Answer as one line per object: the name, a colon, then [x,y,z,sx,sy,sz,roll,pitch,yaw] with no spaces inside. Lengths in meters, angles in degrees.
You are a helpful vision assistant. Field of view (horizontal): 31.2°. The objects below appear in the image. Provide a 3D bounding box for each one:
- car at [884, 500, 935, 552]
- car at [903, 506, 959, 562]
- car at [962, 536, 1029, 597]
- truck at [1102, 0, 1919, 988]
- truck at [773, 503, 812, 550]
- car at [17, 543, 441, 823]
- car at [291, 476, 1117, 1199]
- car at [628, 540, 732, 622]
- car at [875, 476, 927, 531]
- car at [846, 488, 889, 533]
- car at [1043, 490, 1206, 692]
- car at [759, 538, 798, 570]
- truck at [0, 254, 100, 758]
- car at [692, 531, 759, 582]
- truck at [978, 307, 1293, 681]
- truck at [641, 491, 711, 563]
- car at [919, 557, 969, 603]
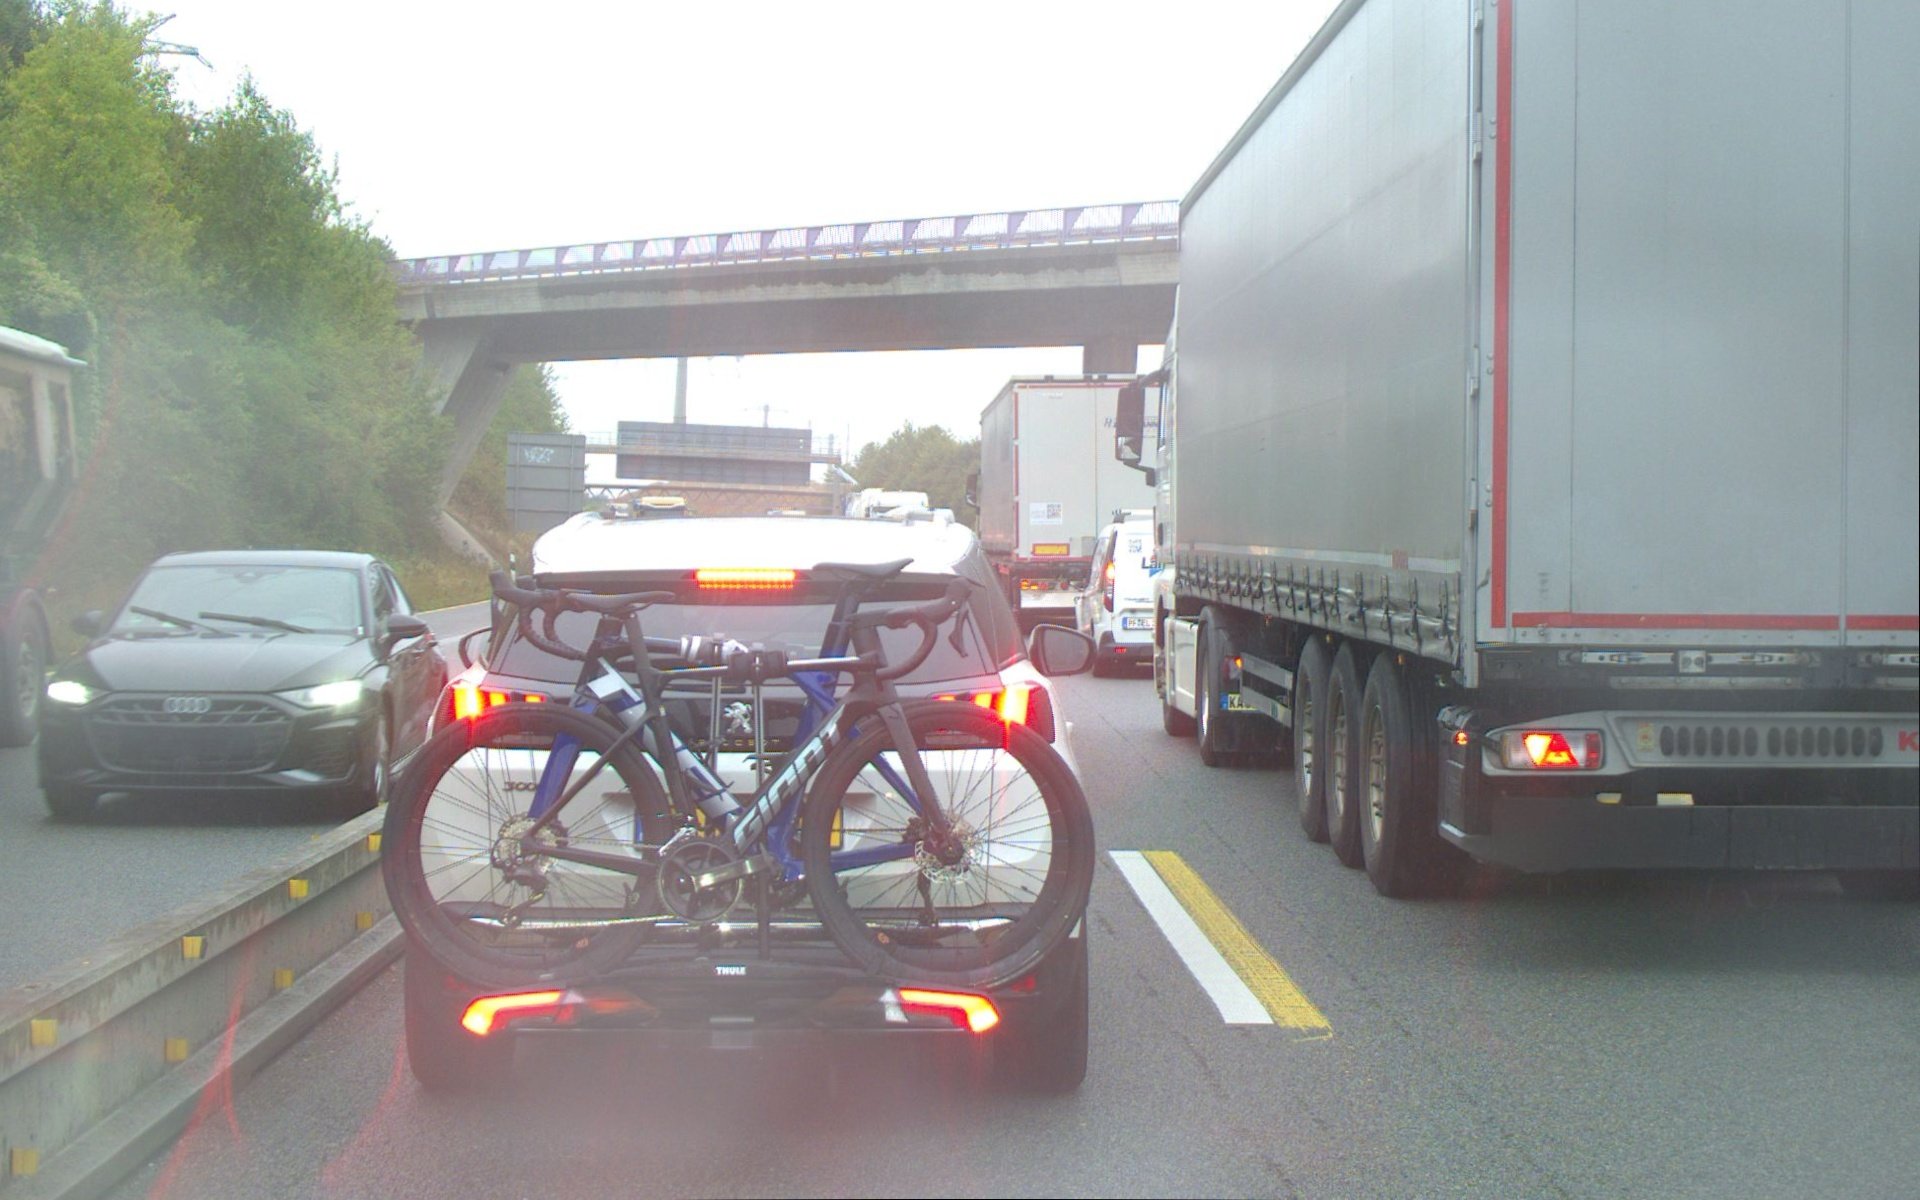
car: [-2.019,-2.973,138.565,1.993,2.007,4.000,1,1,0]
car: [-1.066,-2.408,126.815,1.993,2.007,4.000,1,1,0]
car: [0.884,-0.854,87.615,1.638,1.492,3.666,1,1,0]
truck: [3.477,-1.709,21.098,3.979,5.654,20.377,1,1,-1]
truck: [-12.157,-5.326,250.661,2.535,3.341,12.051,1,1,-1]
car: [-4.001,0.398,19.400,1.686,1.404,3.930,1,1,-2]
car: [-0.546,0.524,9.908,1.810,1.632,4.635,1,1,1]
car: [-5.466,-0.389,67.557,1.810,1.554,3.990,1,1,-1]
car: [-2.578,-4.231,151.033,2.239,2.299,4.572,1,1,0]
car: [-4.491,-4.352,167.831,1.993,2.119,4.527,1,1,0]
car: [1.840,-0.122,39.574,1.670,2.173,4.535,1,1,1]
car: [-8.042,-2.040,152.620,1.686,1.404,3.930,1,1,-2]
truck: [-7.546,-0.593,19.603,2.535,3.341,12.051,1,1,-1]
car: [-7.123,-1.325,104.763,1.810,1.483,4.397,1,1,-1]
truck: [2.766,-1.742,62.610,4.743,5.654,20.376,1,1,1]
truck: [-14.781,-3.756,179.568,2.681,3.644,12.312,1,1,0]
car: [-0.535,-0.675,114.103,1.638,1.492,3.666,1,1,0]
